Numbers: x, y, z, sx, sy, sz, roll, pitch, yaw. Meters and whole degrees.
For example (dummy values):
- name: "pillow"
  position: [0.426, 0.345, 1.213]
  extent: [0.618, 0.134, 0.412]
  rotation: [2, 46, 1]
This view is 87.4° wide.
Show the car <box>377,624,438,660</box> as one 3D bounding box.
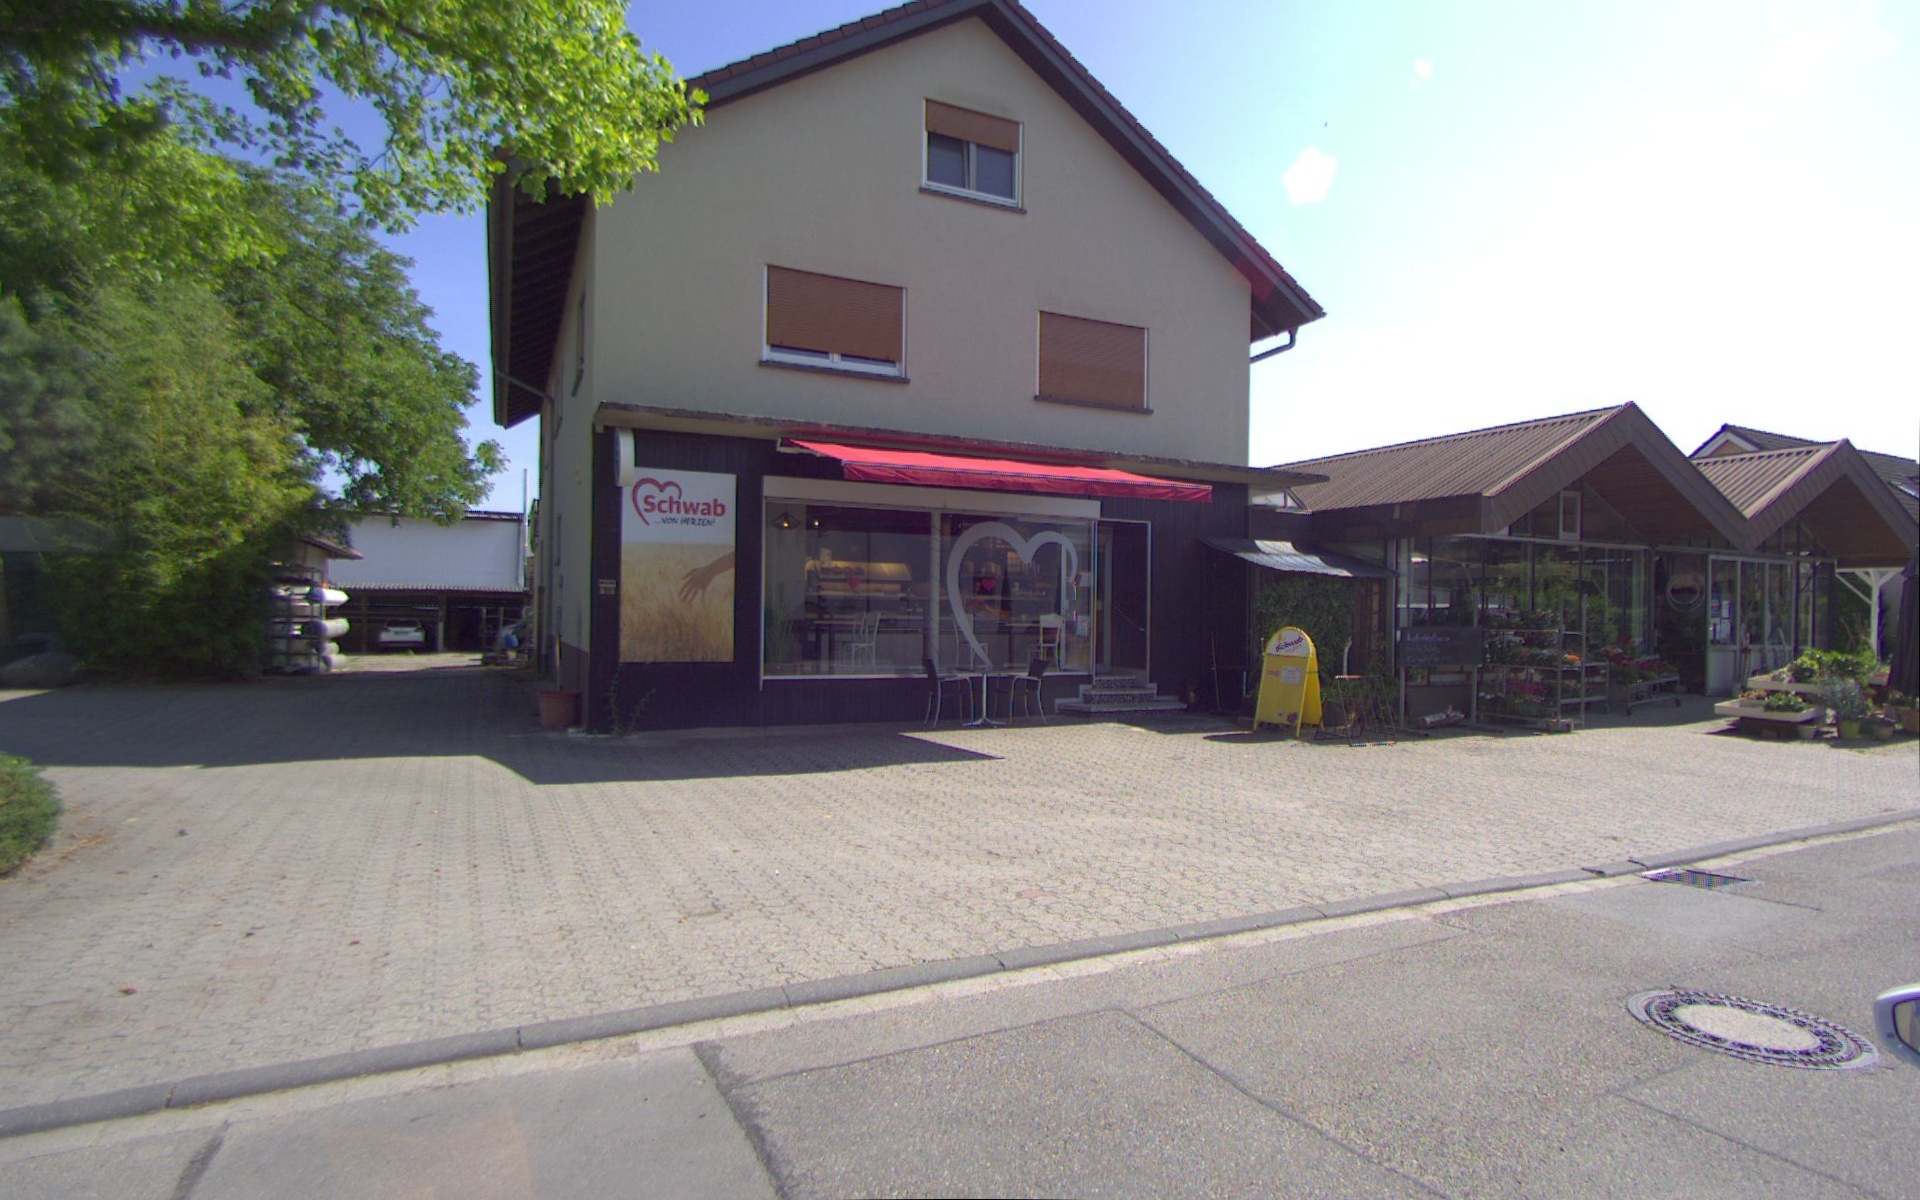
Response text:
- name: "car"
  position: [-24.154, 1.810, 44.039]
  extent: [1.875, 1.461, 3.979]
  rotation: [1, -2, -22]

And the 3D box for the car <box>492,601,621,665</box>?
- name: "car"
  position: [-16.116, 1.323, 40.131]
  extent: [4.591, 2.441, 2.180]
  rotation: [1, -1, -28]
